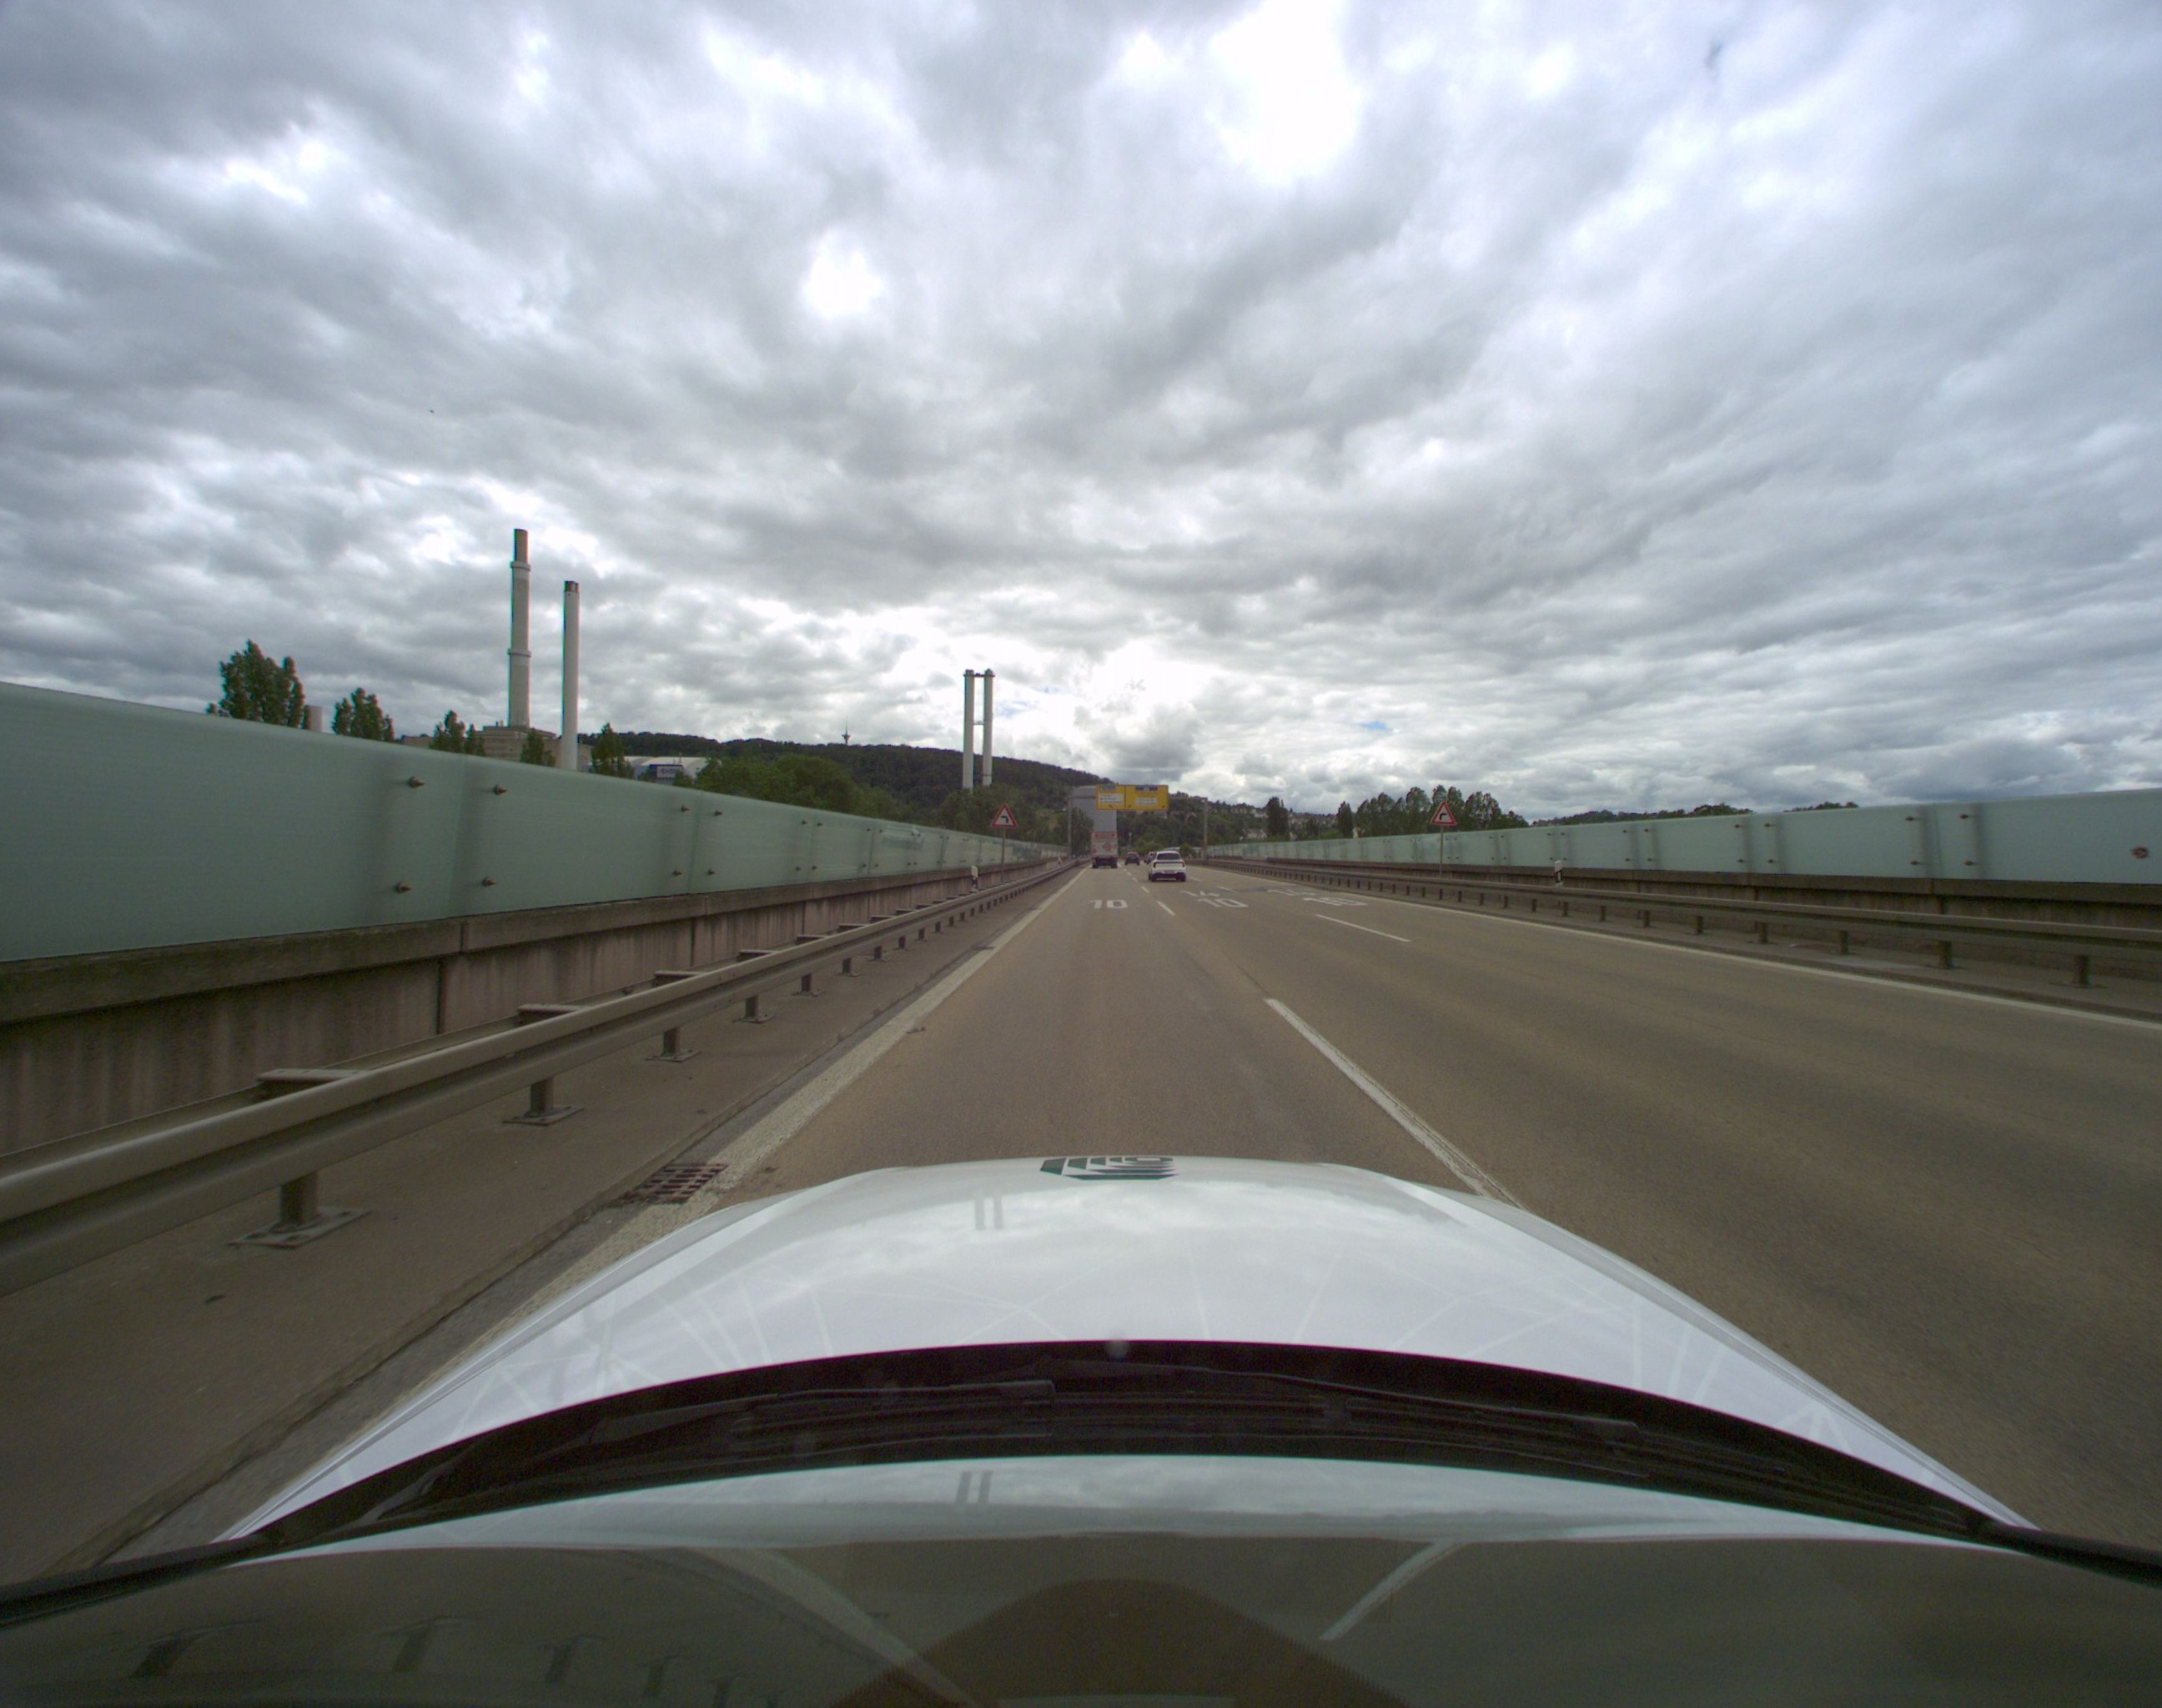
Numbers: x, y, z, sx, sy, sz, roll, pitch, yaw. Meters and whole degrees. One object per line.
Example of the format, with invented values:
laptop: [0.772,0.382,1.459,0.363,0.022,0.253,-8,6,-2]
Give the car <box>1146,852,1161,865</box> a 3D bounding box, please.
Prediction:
car: [10.054,0.617,113.008,1.916,1.785,4.115,-1,0,2]

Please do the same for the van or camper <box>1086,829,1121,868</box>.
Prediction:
van or camper: [2.309,-0.495,80.509,3.109,3.579,8.556,-1,0,3]

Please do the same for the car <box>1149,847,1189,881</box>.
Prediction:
car: [4.805,0.533,44.983,1.916,1.785,4.115,-1,0,2]

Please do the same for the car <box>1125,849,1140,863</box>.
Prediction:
car: [6.639,0.283,105.425,1.916,1.785,4.115,-1,0,2]

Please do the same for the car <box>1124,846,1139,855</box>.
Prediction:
car: [10.670,-0.722,172.424,2.457,1.979,5.176,-1,0,11]
